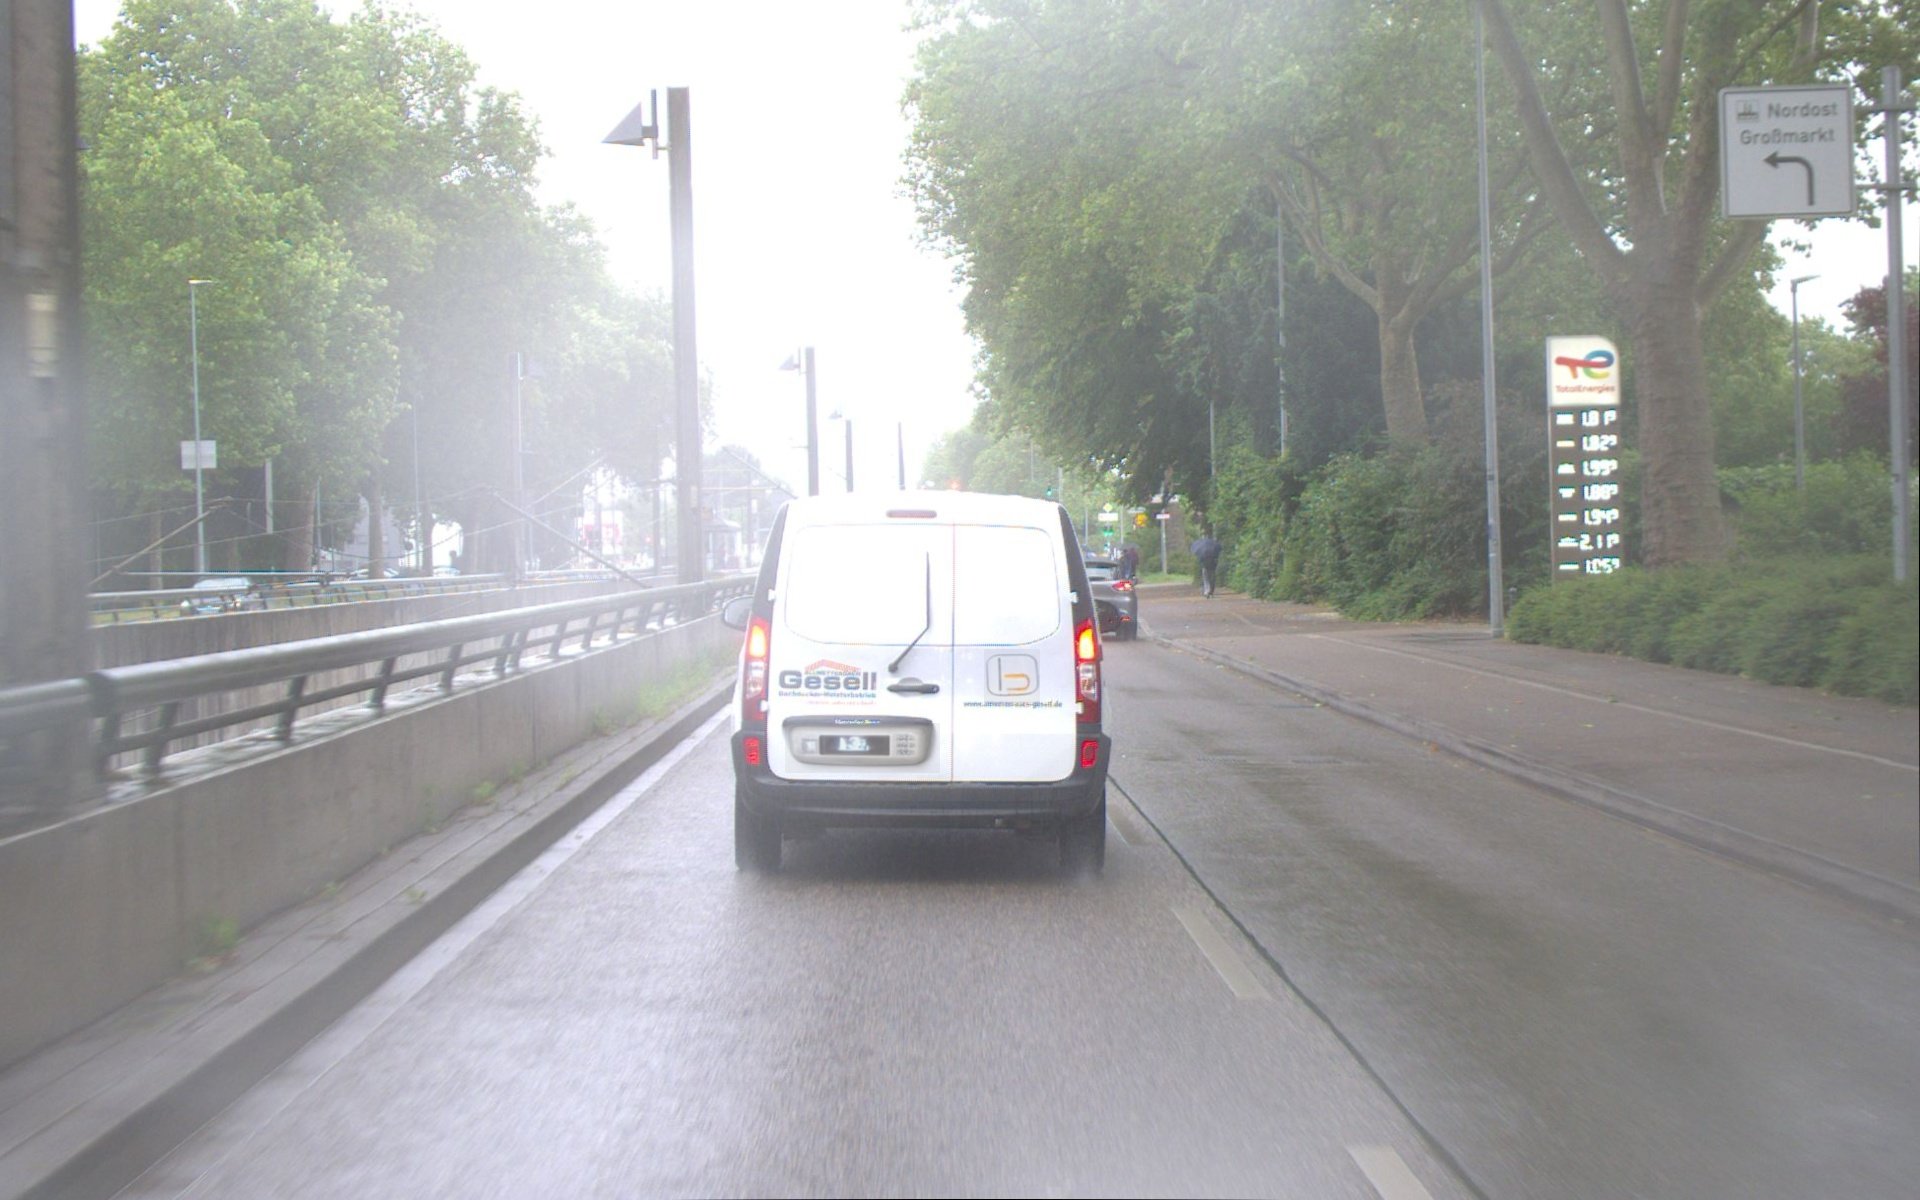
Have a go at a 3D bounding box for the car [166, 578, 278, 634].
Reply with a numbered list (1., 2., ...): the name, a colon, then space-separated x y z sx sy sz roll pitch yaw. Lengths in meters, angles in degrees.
1. car: -19.724 0.152 92.018 1.994 1.399 3.794 -1 1 3

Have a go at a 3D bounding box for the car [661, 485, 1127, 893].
1. car: -0.324 0.364 17.247 2.025 1.769 4.274 1 1 -1

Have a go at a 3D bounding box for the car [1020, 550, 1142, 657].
1. car: 2.105 0.036 59.230 1.994 1.744 4.000 1 1 3

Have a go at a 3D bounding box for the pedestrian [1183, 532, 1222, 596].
1. pedestrian: 6.510 -0.976 92.195 0.967 1.696 1.141 0 1 1
